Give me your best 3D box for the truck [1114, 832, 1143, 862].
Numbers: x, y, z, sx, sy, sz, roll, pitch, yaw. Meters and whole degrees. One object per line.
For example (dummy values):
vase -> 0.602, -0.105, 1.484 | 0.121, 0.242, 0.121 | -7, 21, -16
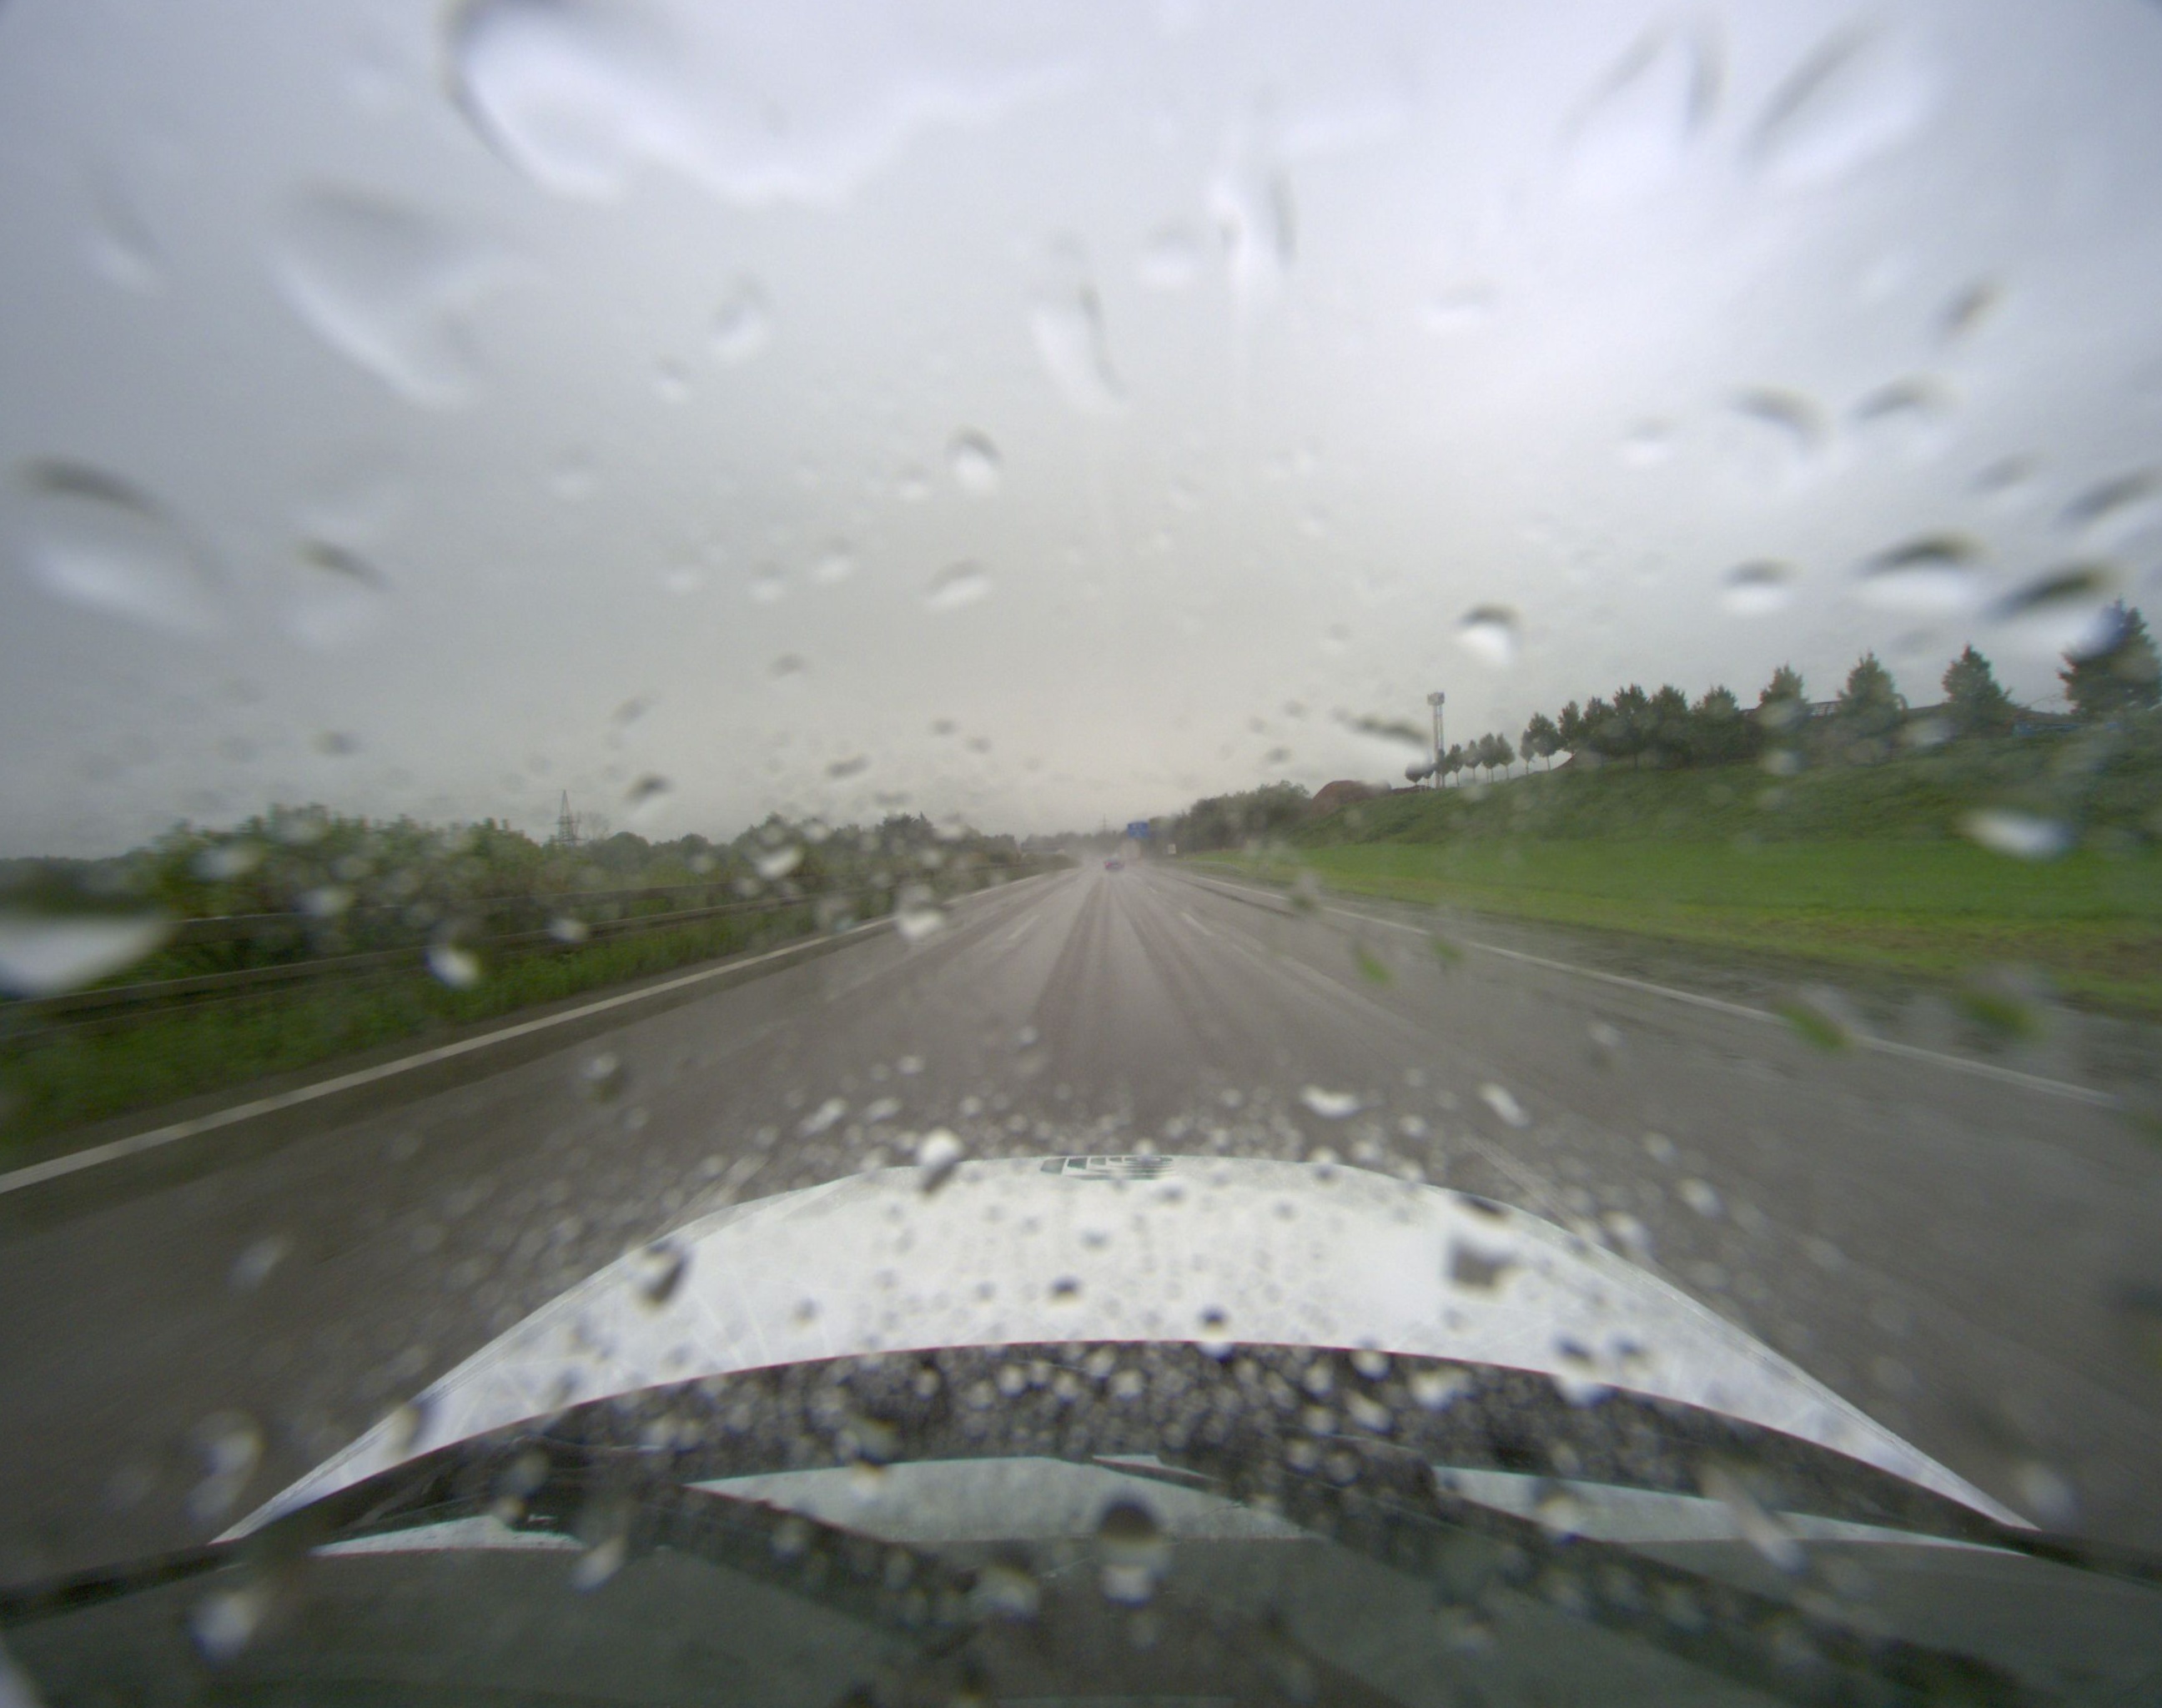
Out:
truck -> 8.843, -1.241, 153.659 | 4.243, 4.971, 17.339 | -5, 0, 0

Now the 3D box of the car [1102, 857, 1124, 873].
car -> 2.605, 0.885, 67.249 | 1.742, 1.212, 4.001 | -1, 0, 1
